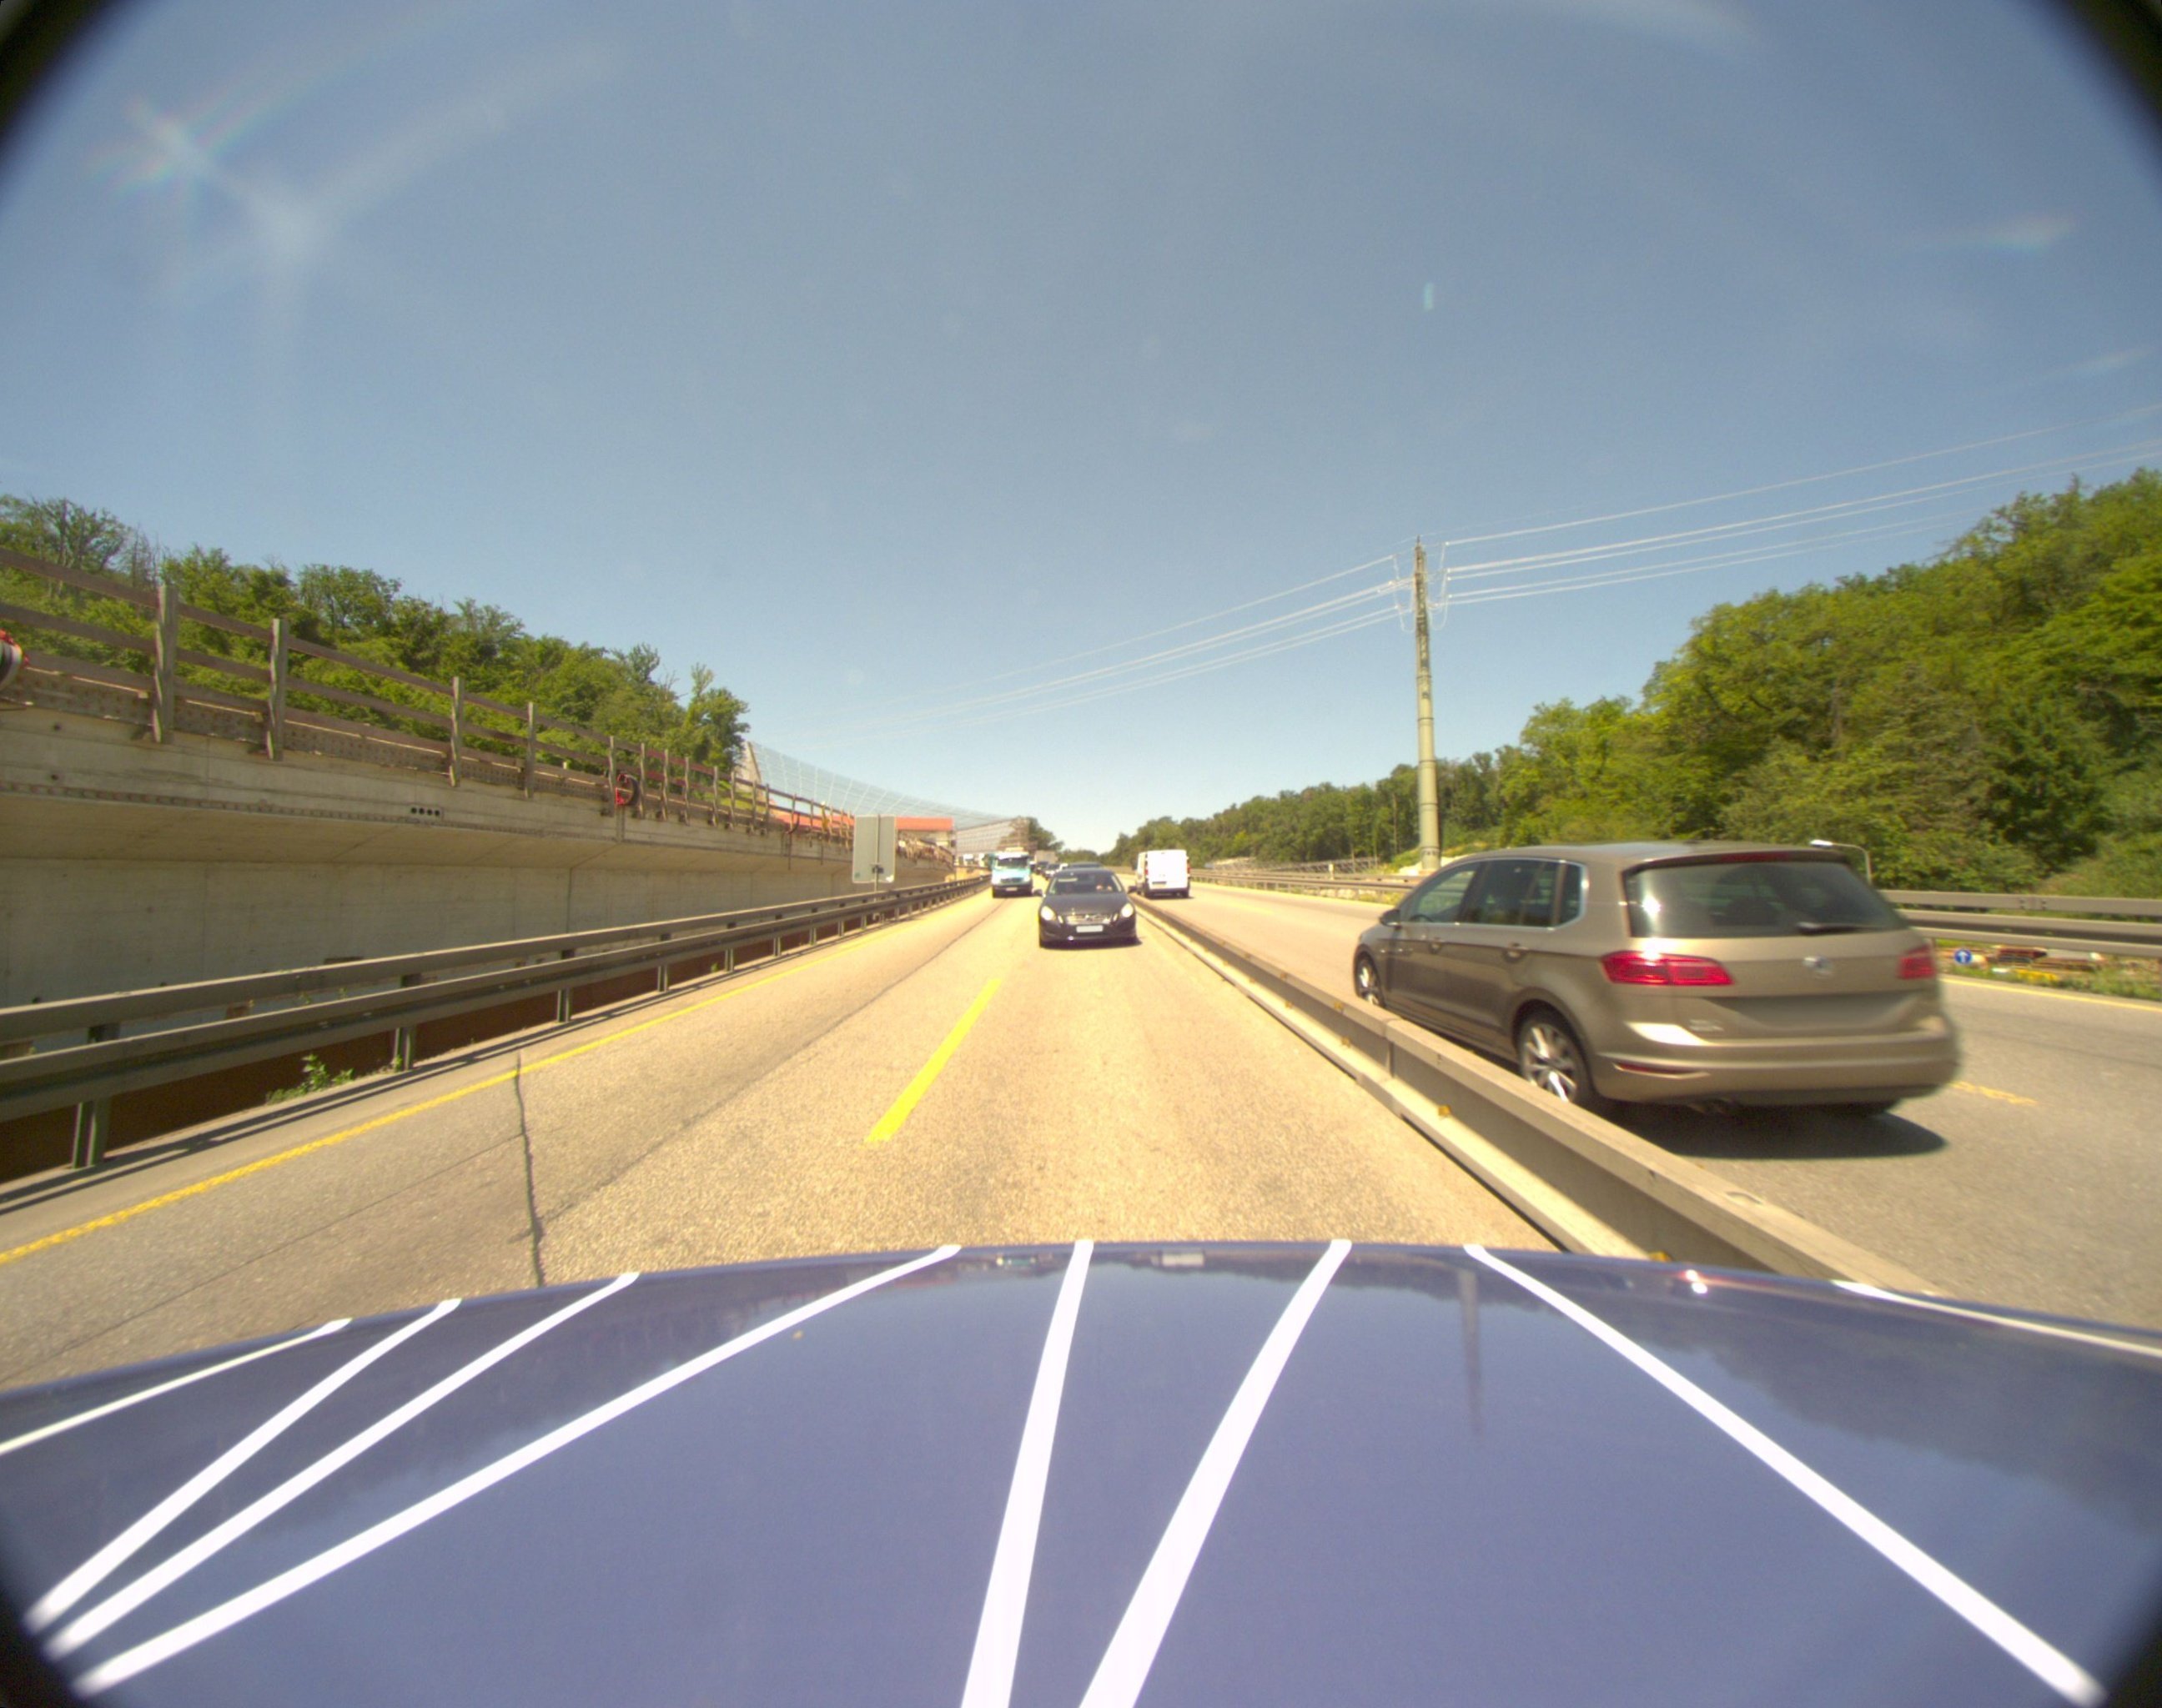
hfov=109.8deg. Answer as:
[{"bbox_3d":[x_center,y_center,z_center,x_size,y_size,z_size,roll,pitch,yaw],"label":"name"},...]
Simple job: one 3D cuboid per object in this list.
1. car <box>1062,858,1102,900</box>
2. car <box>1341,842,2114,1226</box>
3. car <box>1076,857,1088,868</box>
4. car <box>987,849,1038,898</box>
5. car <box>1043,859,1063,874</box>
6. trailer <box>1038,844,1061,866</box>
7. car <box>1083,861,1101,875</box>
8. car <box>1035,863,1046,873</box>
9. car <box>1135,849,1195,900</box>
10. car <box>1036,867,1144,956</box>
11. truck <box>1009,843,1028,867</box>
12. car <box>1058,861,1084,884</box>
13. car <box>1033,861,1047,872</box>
[{"bbox_3d":[0.086,0.962,31.165,1.519,1.543,3.861,-2,0,1],"label":"car"},{"bbox_3d":[3.425,0.758,5.209,1.850,1.565,4.000,-2,0,-1],"label":"car"},{"bbox_3d":[0.167,1.566,142.659,1.999,1.999,4.857,-1,0,-1],"label":"car"},{"bbox_3d":[-3.506,0.937,40.195,2.217,2.312,6.900,-2,0,-2],"label":"car"},{"bbox_3d":[-2.683,1.199,73.430,1.646,1.366,3.345,-3,0,2],"label":"car"},{"bbox_3d":[-7.054,0.251,168.828,3.500,4.460,12.916,-3,0,-9],"label":"trailer"},{"bbox_3d":[1.124,1.450,79.974,1.751,1.417,3.709,-1,-1,-1],"label":"car"},{"bbox_3d":[-6.525,2.233,122.013,1.647,1.366,3.343,-3,0,-4],"label":"car"},{"bbox_3d":[3.511,0.808,32.712,1.999,1.999,4.857,-1,0,-1],"label":"car"},{"bbox_3d":[0.074,1.050,15.567,1.844,1.475,4.562,-2,-1,-2],"label":"car"},{"bbox_3d":[-9.823,0.229,118.797,2.472,3.463,9.862,-3,0,-7],"label":"truck"},{"bbox_3d":[-0.727,1.324,55.446,1.736,1.557,3.619,-3,0,1],"label":"car"},{"bbox_3d":[-5.678,1.762,105.259,1.648,1.366,3.342,-3,0,-8],"label":"car"}]
